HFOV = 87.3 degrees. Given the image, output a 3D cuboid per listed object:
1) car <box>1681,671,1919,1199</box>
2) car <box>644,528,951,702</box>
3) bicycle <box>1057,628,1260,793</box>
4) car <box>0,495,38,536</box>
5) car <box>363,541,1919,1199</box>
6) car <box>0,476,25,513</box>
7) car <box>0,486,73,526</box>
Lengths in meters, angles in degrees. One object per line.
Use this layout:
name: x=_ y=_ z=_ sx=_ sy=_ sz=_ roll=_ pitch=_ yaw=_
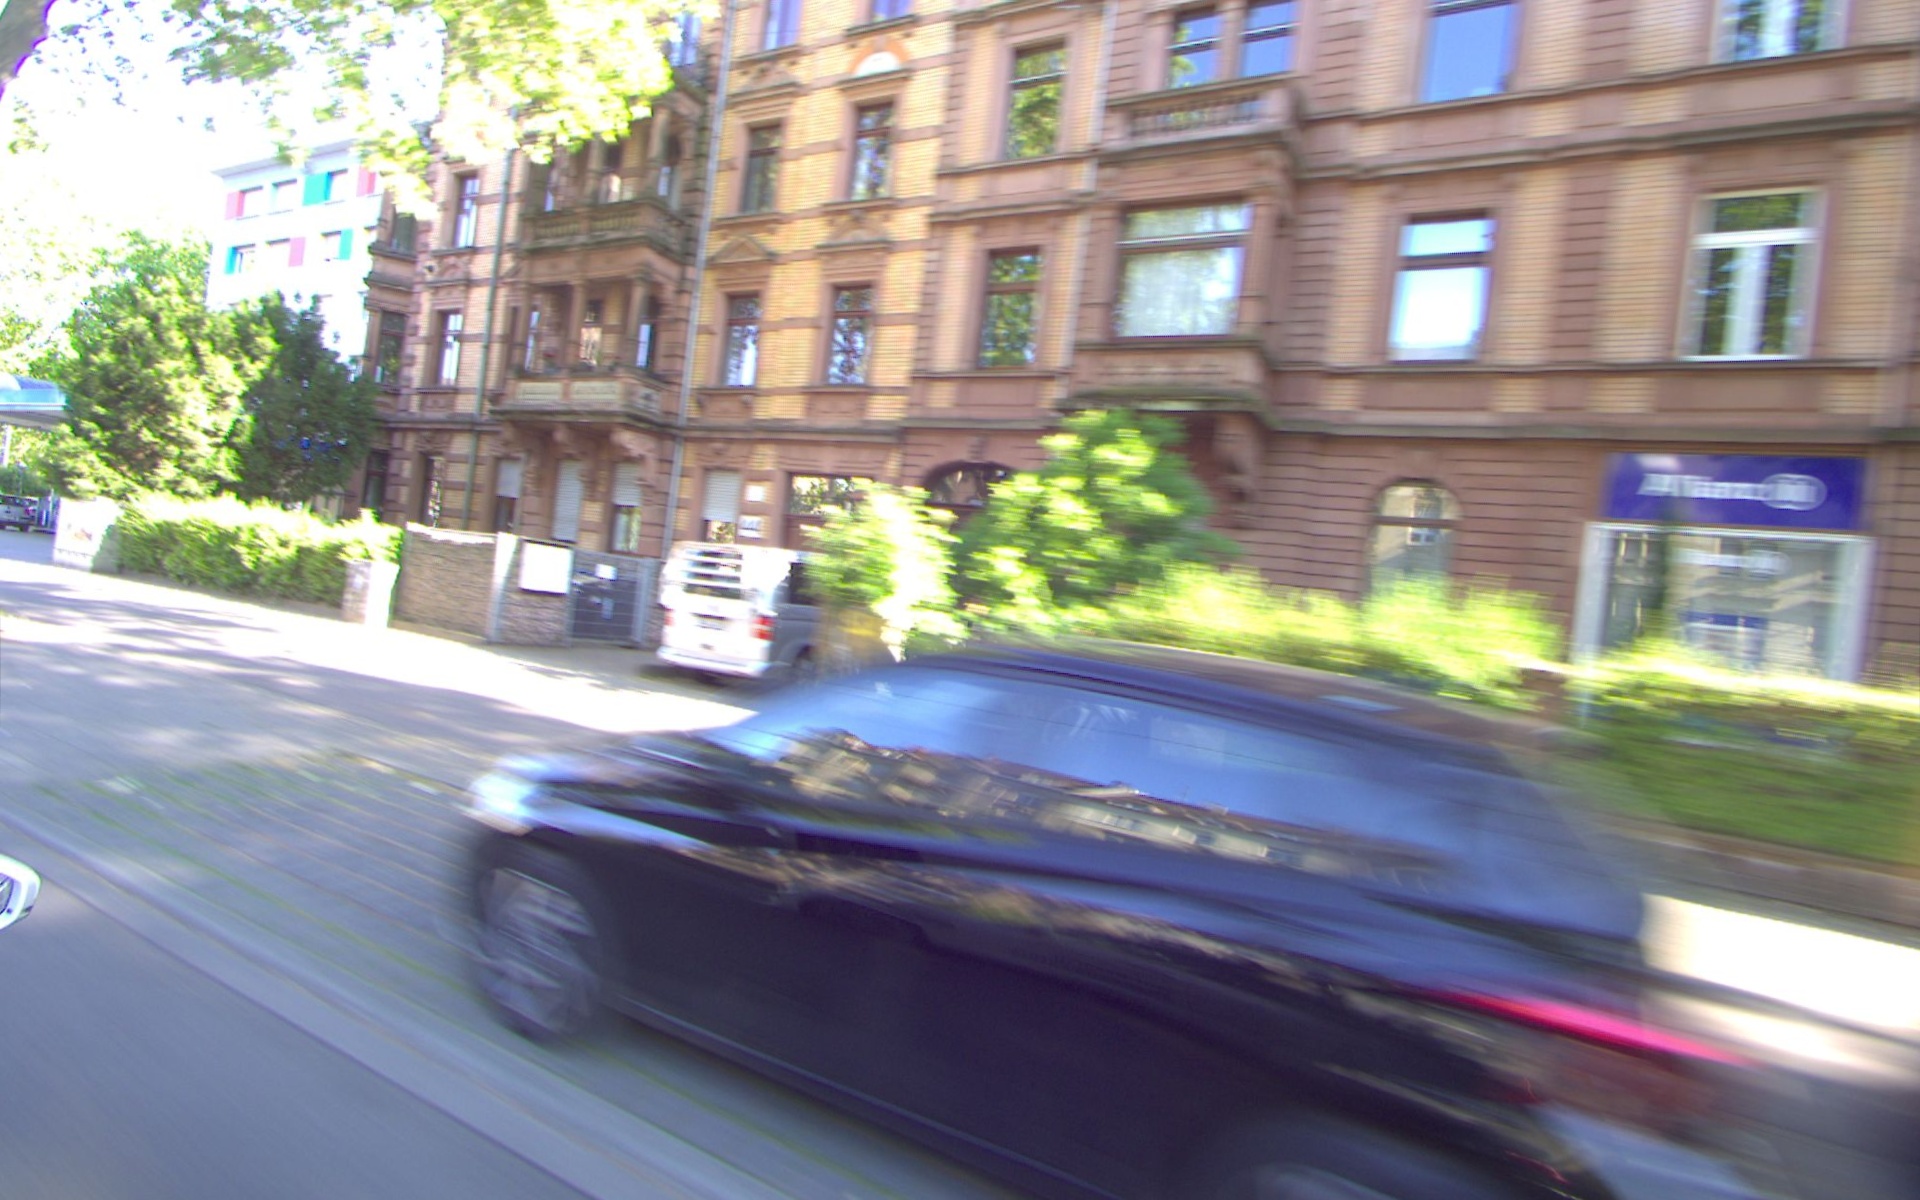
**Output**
car: x=3.640 y=1.173 z=1.095 sx=4.342 sy=1.607 sz=1.619 roll=7 pitch=0 yaw=30
car: x=-2.178 y=0.273 z=14.921 sx=1.882 sy=2.039 sz=4.578 roll=7 pitch=1 yaw=30
bicycle: x=1.837 y=1.009 z=9.484 sx=1.738 sy=1.263 sz=0.338 roll=7 pitch=-2 yaw=34
car: x=-39.154 y=-3.565 z=40.646 sx=4.029 sy=1.448 sz=1.570 roll=7 pitch=0 yaw=30
car: x=0.059 y=0.799 z=3.234 sx=3.981 sy=1.518 sz=1.554 roll=7 pitch=0 yaw=30
car: x=-51.172 y=-5.731 z=52.657 sx=4.717 sy=1.756 sz=1.863 roll=8 pitch=0 yaw=30
car: x=-50.257 y=-5.095 z=54.659 sx=3.932 sy=1.589 sz=1.863 roll=8 pitch=0 yaw=30
